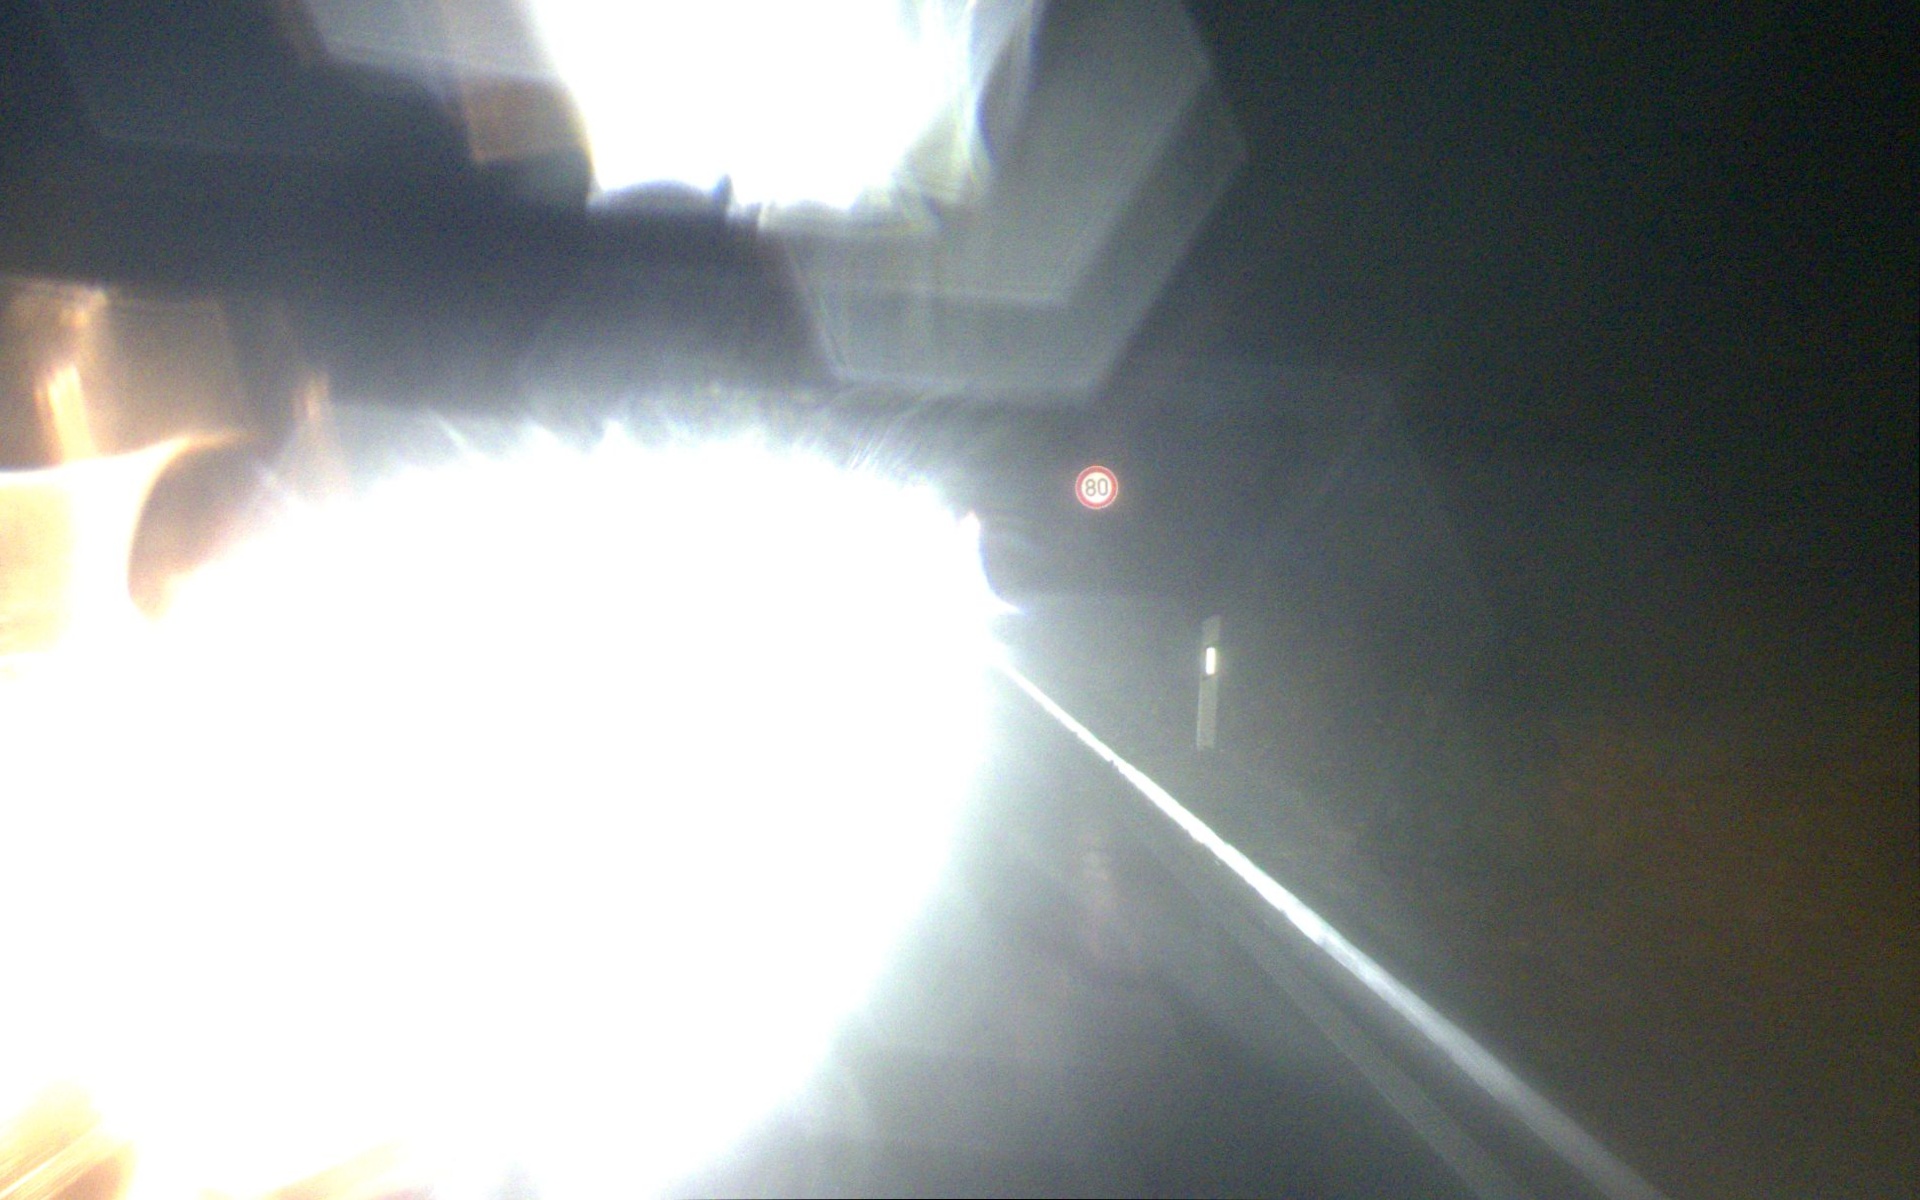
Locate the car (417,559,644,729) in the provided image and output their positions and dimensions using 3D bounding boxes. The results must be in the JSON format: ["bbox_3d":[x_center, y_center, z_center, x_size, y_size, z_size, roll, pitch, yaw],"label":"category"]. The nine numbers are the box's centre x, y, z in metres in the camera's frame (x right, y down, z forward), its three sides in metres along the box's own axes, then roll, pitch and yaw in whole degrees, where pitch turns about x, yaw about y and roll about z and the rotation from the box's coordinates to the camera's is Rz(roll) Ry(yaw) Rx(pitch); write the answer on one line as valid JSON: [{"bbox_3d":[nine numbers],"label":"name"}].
[{"bbox_3d":[-4.609,0.467,37.453,1.888,1.629,4.391,-4,0,-1],"label":"car"}]

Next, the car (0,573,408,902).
[{"bbox_3d":[-4.025,0.633,18.189,1.700,1.462,4.042,-1,1,-3],"label":"car"}]

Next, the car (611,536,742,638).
[{"bbox_3d":[-4.912,-0.203,60.126,2.039,1.602,3.999,-4,0,-3],"label":"car"}]

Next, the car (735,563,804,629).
[{"bbox_3d":[-5.883,-0.109,106.332,1.779,1.873,3.998,-4,0,0],"label":"car"}]
